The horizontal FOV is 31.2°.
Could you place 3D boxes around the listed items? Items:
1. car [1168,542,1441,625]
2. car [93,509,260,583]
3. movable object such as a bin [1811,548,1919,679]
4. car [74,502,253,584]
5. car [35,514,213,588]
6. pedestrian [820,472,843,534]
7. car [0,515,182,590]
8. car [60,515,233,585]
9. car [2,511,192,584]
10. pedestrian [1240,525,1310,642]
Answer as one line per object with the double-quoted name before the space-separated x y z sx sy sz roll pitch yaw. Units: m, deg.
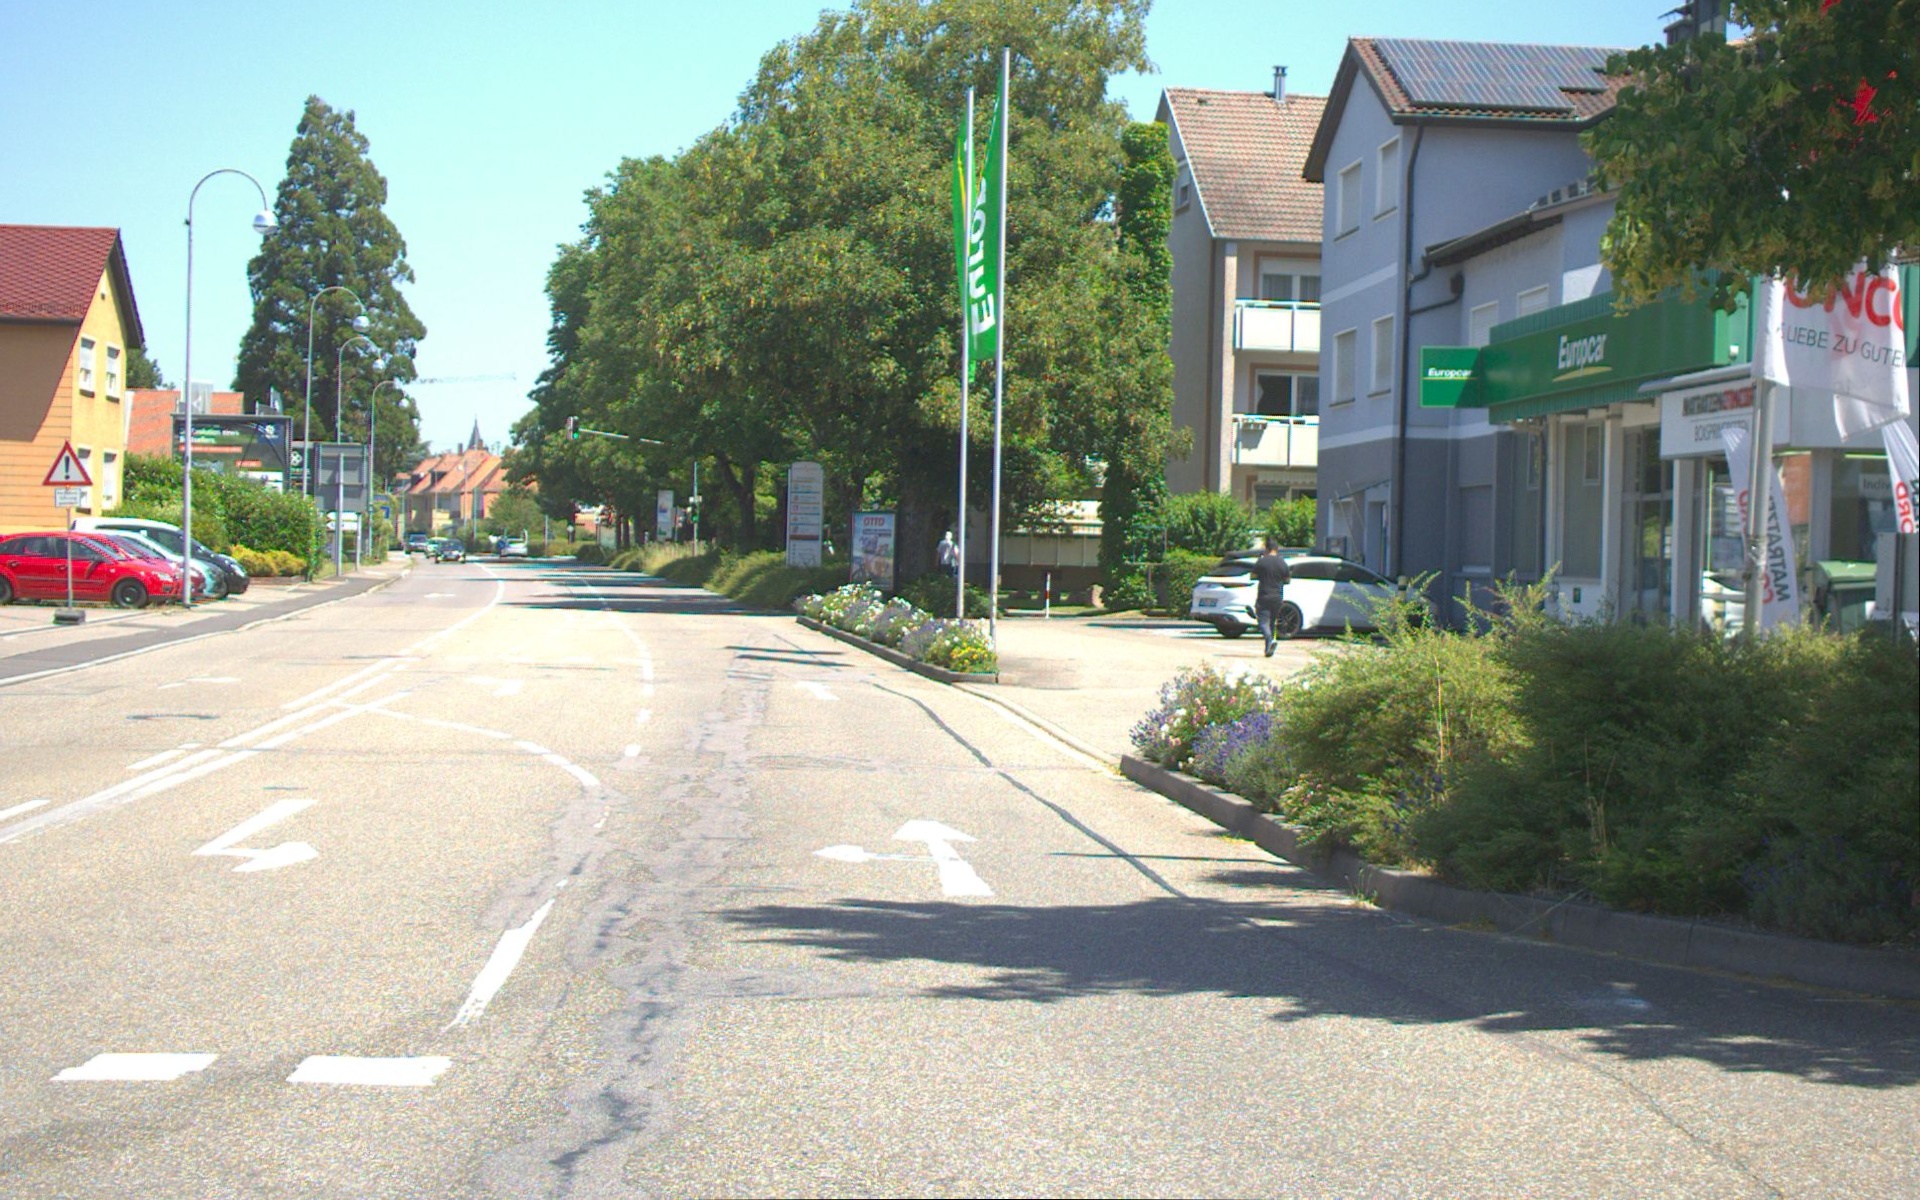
"car" 5.970 -0.278 59.517 4.343 1.366 1.956 0 1 -29
"car" -18.365 -1.266 80.702 3.663 1.667 1.923 1 1 -8
"movable object such as a bin" 10.487 0.140 38.826 1.563 1.417 0.702 -2 1 1
"car" -19.137 -1.372 82.723 4.092 1.891 2.001 1 1 -11
"car" -18.509 -1.090 76.272 3.663 1.575 1.923 1 1 -8
"pedestrian" -3.949 -2.972 105.661 0.703 1.908 0.660 0 1 -3
"car" -17.845 -0.971 69.107 4.125 1.439 1.827 1 1 -7
"car" -18.520 -1.138 78.385 3.663 1.526 1.923 1 1 -8
"car" -17.984 -1.094 71.770 3.663 1.452 1.893 1 1 -8
"pedestrian" 4.477 -0.236 48.892 0.840 1.635 1.010 1 1 -2
